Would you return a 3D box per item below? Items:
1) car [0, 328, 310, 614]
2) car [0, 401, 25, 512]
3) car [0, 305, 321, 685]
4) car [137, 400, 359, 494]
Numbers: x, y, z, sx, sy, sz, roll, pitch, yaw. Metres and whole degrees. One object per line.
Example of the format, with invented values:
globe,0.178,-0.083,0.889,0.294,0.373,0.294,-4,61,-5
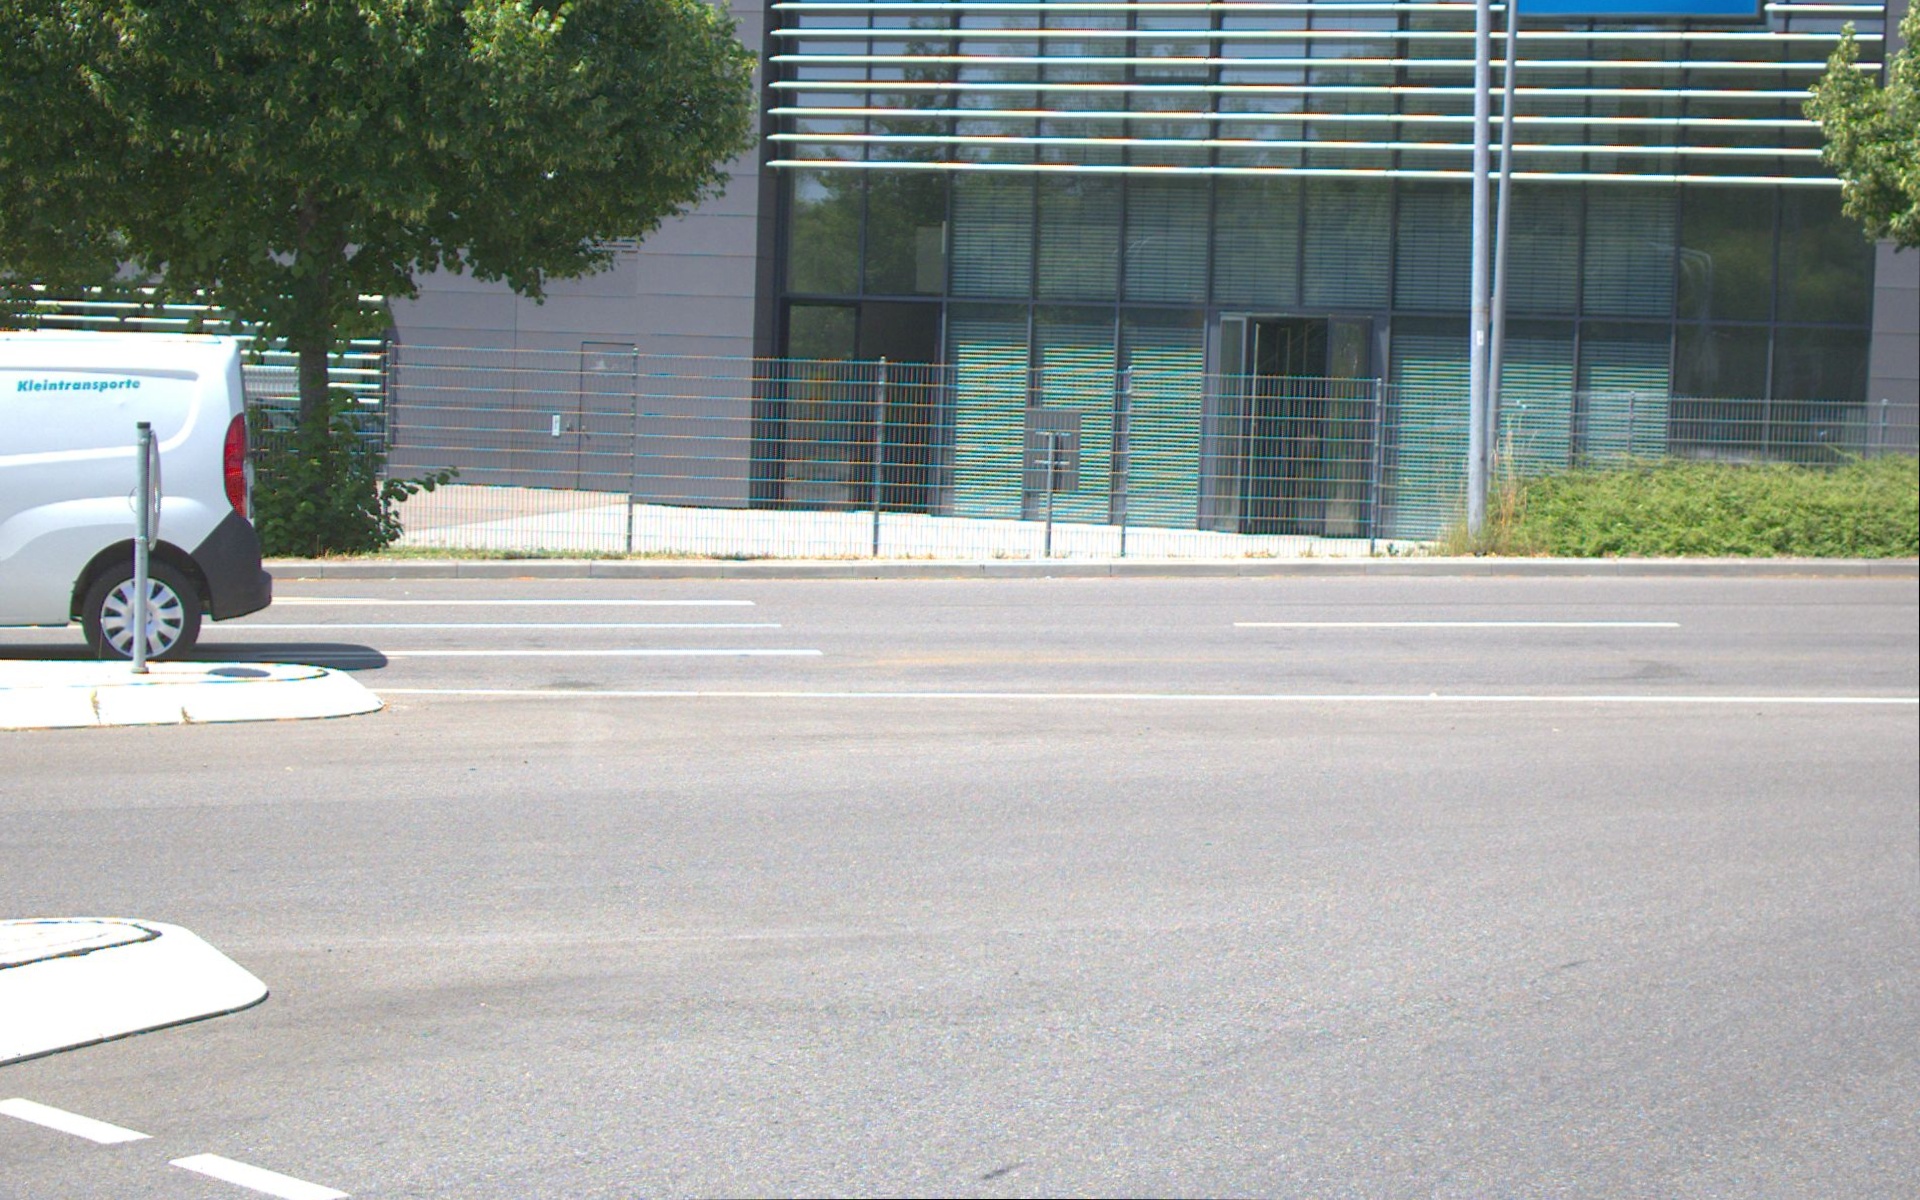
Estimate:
car,-6.387,-0.910,23.000,3.851,1.700,2.002,1,7,-15
car,-14.180,-1.858,44.986,1.995,1.481,3.998,0,3,15
car,-6.124,-0.657,19.201,4.853,1.935,2.002,1,7,-15
car,-11.738,-2.535,56.935,1.995,1.481,3.998,0,3,15
